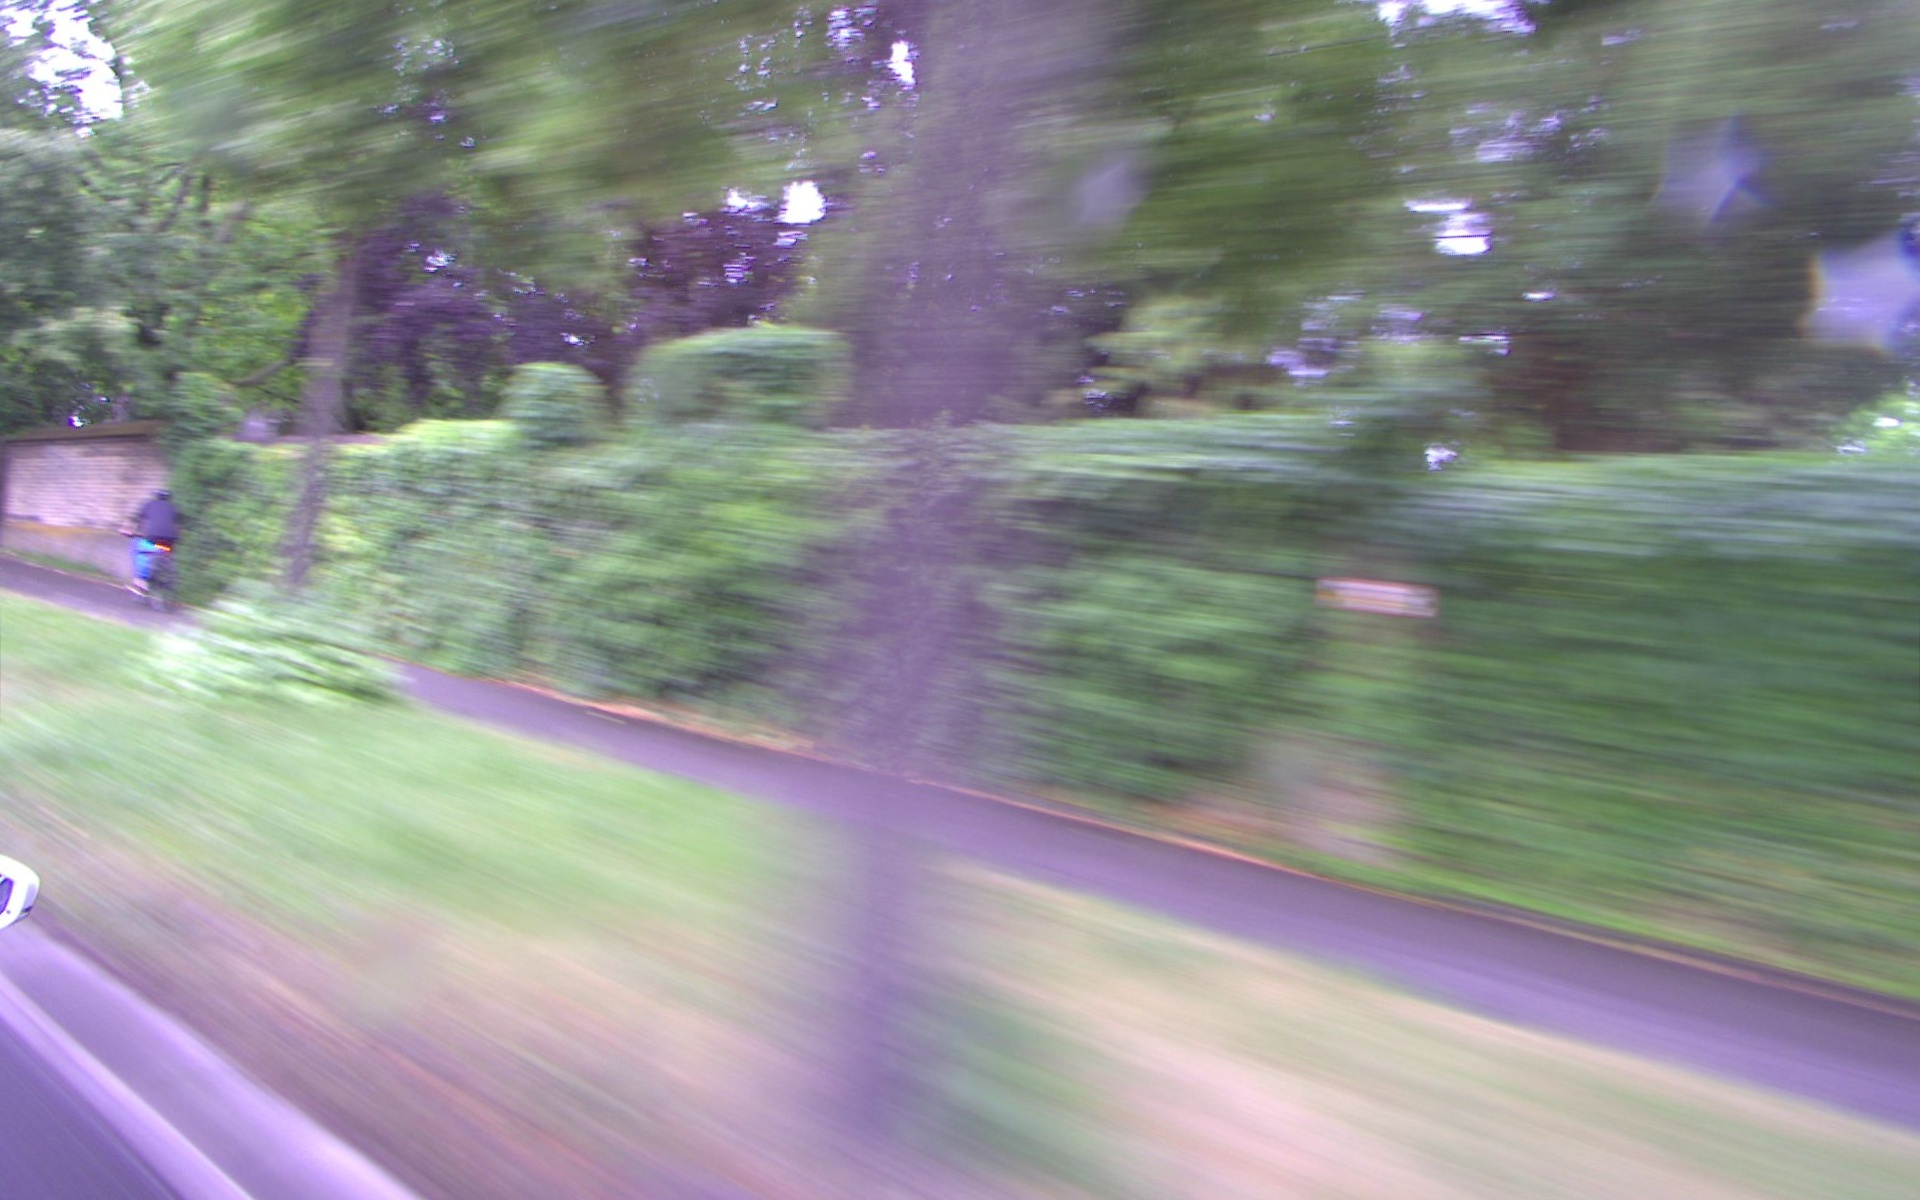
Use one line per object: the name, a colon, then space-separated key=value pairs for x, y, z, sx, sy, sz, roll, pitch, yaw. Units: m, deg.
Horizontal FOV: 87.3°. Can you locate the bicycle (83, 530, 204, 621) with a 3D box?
bicycle: x=-10.937 y=-0.350 z=13.432 sx=2.509 sy=0.960 sz=0.542 roll=7 pitch=1 yaw=35

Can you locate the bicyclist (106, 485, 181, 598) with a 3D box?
bicyclist: x=-10.920 y=-0.781 z=13.459 sx=0.656 sy=1.407 sz=0.535 roll=7 pitch=2 yaw=35
